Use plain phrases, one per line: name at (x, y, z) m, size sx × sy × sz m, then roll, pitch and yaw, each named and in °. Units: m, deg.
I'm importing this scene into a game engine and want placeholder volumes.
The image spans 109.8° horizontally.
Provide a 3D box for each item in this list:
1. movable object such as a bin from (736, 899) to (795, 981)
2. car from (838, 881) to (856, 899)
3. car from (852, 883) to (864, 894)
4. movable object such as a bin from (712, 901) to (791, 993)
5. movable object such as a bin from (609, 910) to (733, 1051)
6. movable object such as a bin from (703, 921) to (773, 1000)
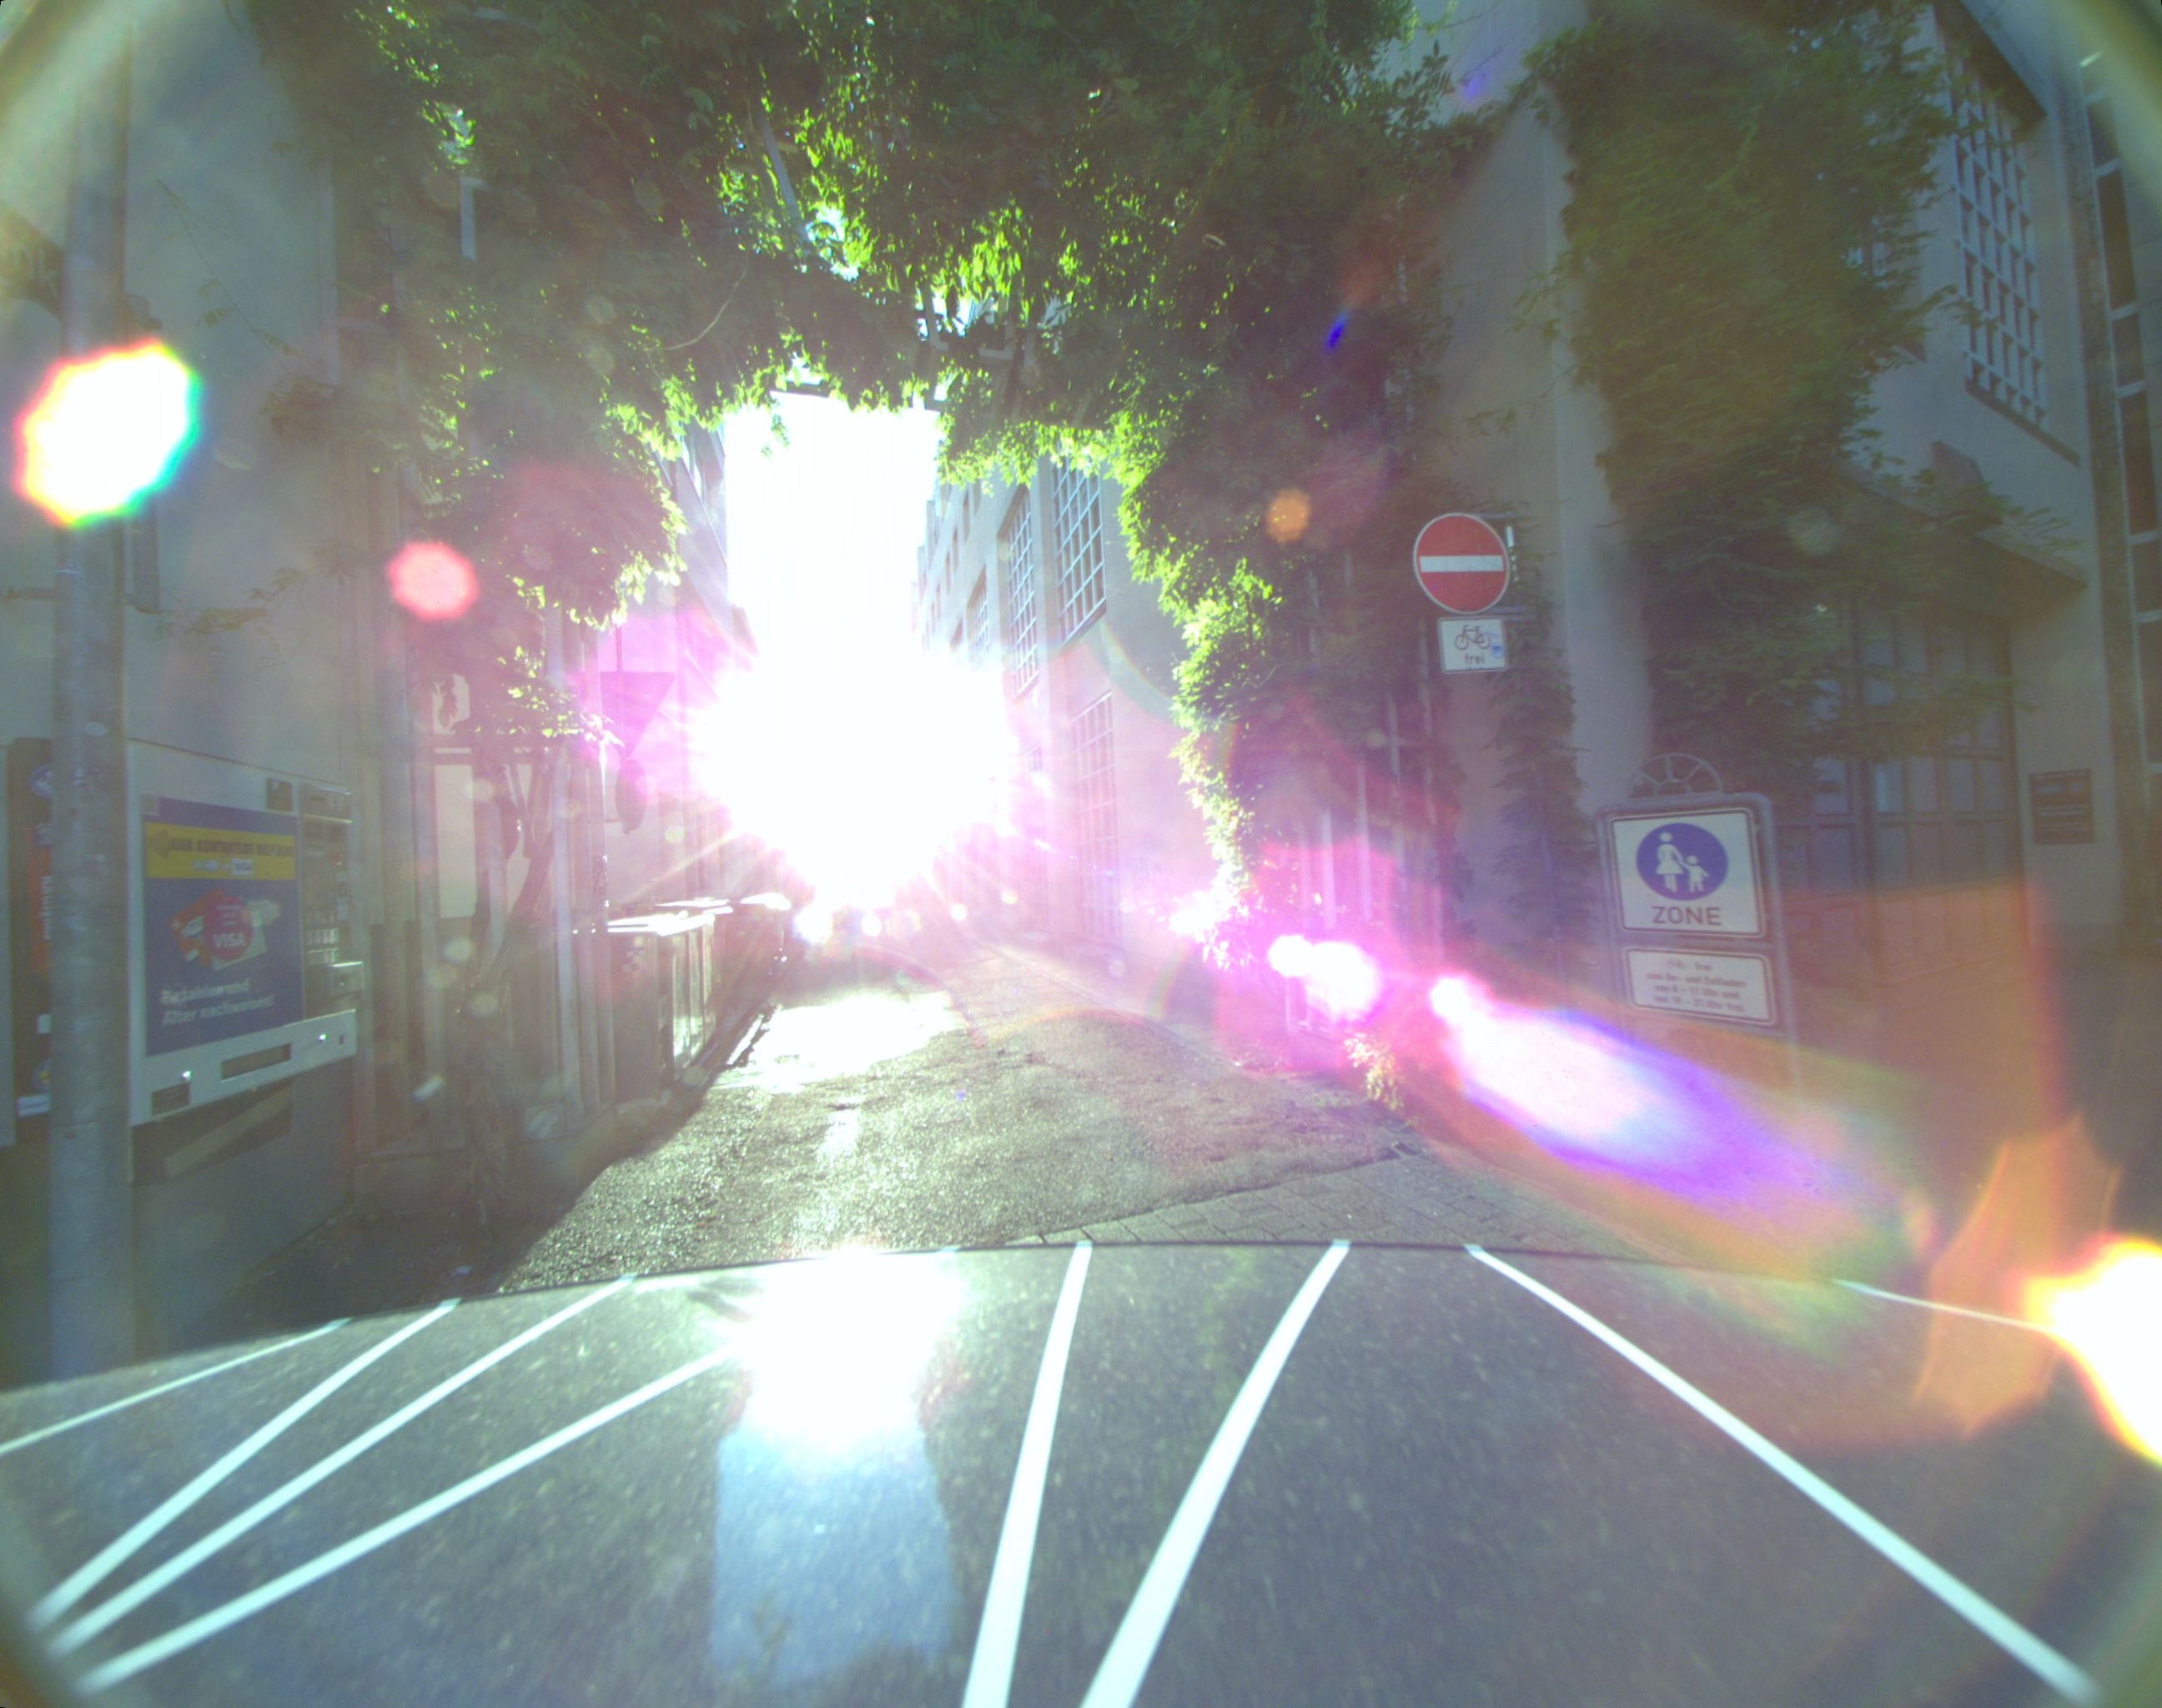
movable object such as a bin at (-5.782, 1.536, 13.942) m, size 0.941 × 1.358 × 1.340 m, roll 0°, pitch -2°, yaw -22°
car at (-25.496, 3.947, 82.897) m, size 1.766 × 1.756 × 4.745 m, roll -5°, pitch -1°, yaw -16°
car at (-43.085, 6.613, 146.478) m, size 2.001 × 1.805 × 3.995 m, roll -5°, pitch -1°, yaw -18°
movable object such as a bin at (-5.421, 1.488, 12.586) m, size 1.068 × 1.358 × 1.340 m, roll 0°, pitch -2°, yaw -18°
movable object such as a bin at (-4.305, 1.277, 8.077) m, size 0.839 × 1.297 × 1.289 m, roll -1°, pitch -2°, yaw -13°
movable object such as a bin at (-5.117, 1.577, 11.395) m, size 0.872 × 1.068 × 0.737 m, roll 0°, pitch -1°, yaw -18°
